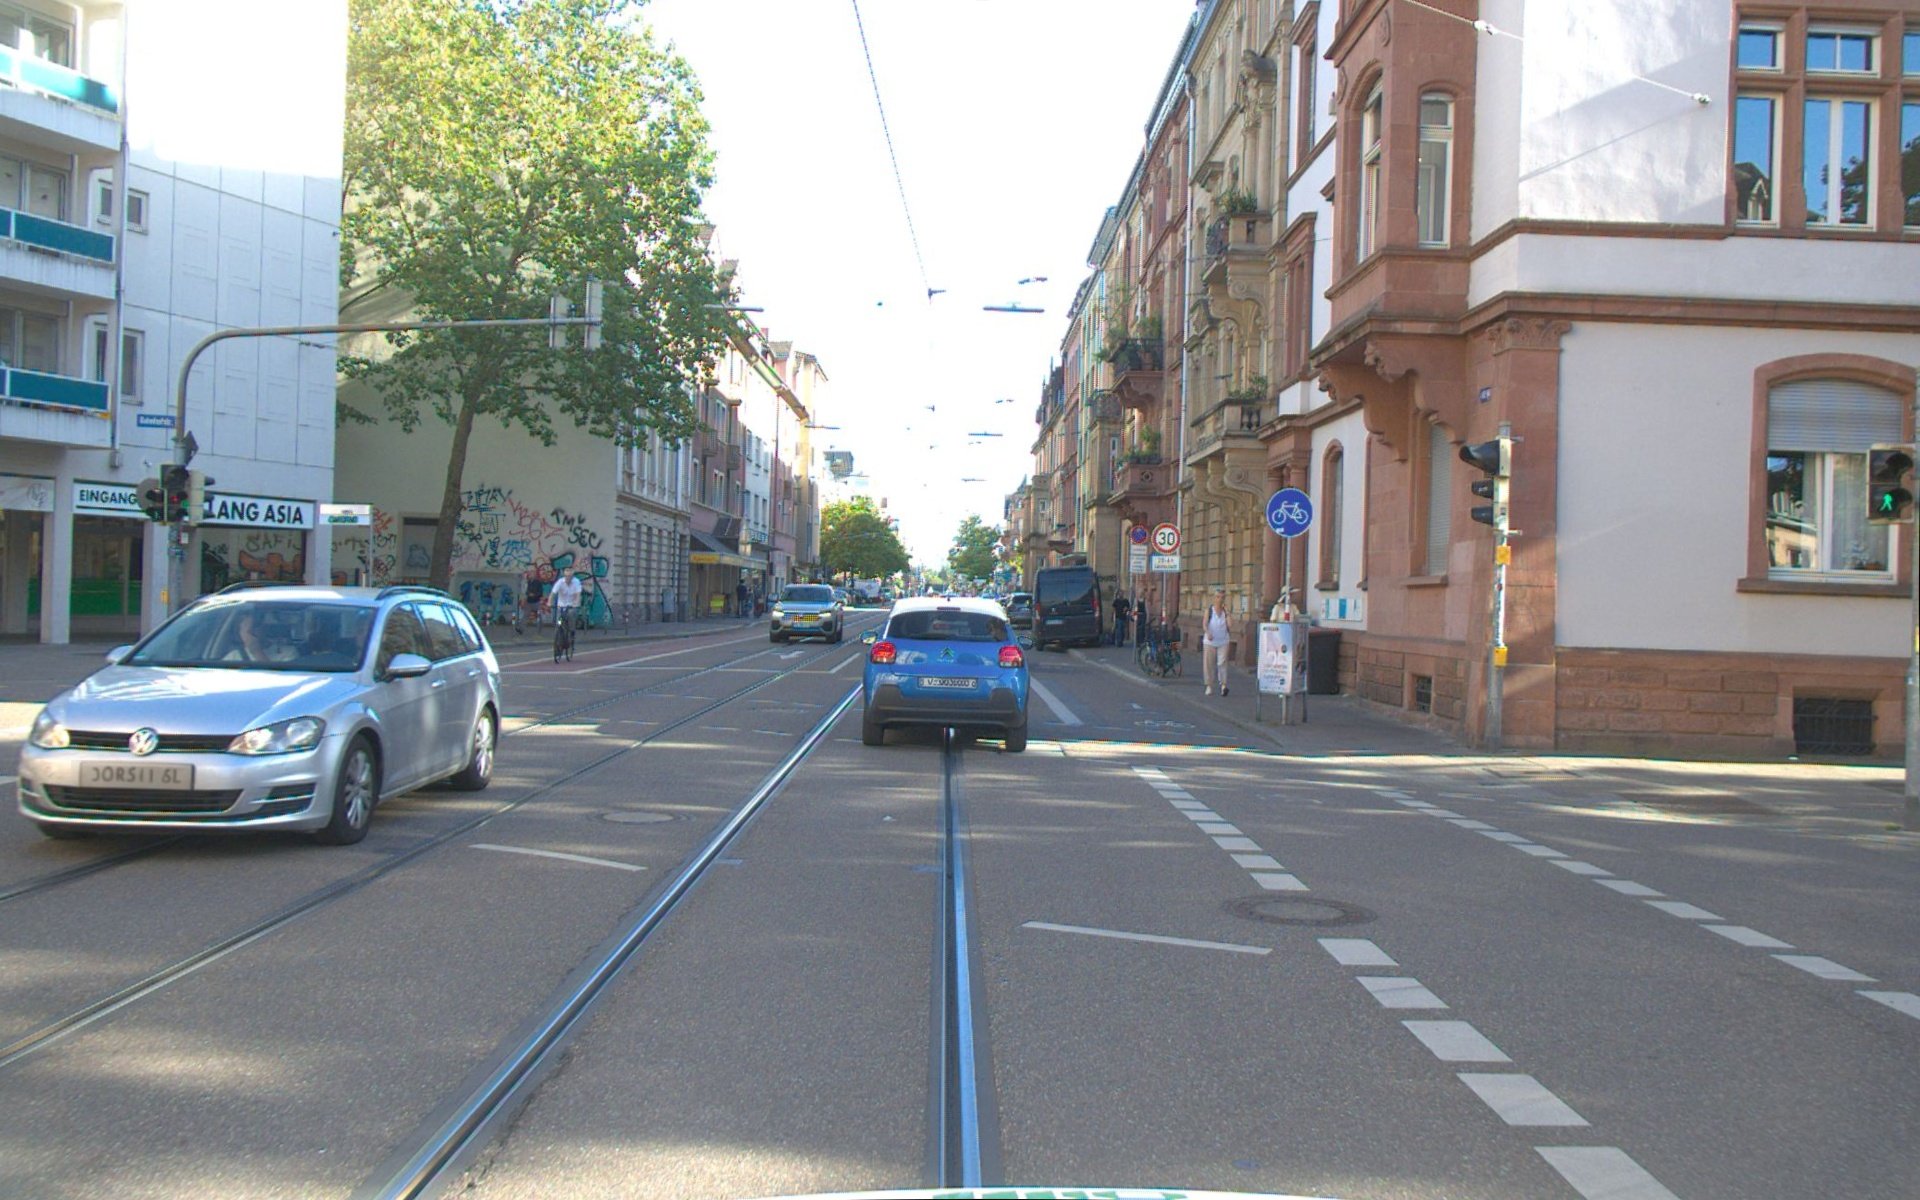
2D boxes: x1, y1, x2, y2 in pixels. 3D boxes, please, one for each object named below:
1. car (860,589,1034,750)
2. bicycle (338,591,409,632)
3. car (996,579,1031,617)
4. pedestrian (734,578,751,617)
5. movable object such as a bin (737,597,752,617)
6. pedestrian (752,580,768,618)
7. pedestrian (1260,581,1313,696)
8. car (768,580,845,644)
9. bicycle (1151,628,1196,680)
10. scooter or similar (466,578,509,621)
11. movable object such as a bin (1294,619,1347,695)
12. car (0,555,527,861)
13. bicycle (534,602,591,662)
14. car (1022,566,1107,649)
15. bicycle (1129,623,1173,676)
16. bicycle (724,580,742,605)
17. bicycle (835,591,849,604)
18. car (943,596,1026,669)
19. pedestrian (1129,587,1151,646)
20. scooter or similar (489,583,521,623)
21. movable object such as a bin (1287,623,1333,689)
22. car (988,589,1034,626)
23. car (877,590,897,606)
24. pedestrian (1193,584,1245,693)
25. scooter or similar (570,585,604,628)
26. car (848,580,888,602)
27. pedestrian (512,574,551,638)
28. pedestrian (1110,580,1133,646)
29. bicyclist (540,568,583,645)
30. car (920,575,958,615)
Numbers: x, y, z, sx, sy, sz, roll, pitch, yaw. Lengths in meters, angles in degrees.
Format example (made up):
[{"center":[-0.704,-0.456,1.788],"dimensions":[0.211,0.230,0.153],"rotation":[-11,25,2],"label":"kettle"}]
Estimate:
[{"center":[-0.093,0.671,17.975],"dimensions":[1.639,1.503,4.000],"rotation":[2,0,1],"label":"car"},{"center":[-15.977,0.300,45.070],"dimensions":[1.878,1.052,0.664],"rotation":[2,0,26],"label":"bicycle"},{"center":[3.342,-0.140,104.624],"dimensions":[1.965,1.699,4.396],"rotation":[3,8,-1],"label":"car"},{"center":[-10.321,-0.118,78.521],"dimensions":[0.696,1.795,0.570],"rotation":[1,0,-2],"label":"pedestrian"},{"center":[-10.317,0.321,79.235],"dimensions":[0.598,0.930,0.695],"rotation":[1,0,-1],"label":"movable object such as a bin"},{"center":[-9.519,-0.054,78.709],"dimensions":[0.697,1.795,0.653],"rotation":[1,0,-9],"label":"pedestrian"},{"center":[5.196,0.603,26.345],"dimensions":[0.691,1.813,0.672],"rotation":[-1,0,-2],"label":"pedestrian"},{"center":[-4.528,0.341,49.384],"dimensions":[1.953,1.774,4.561],"rotation":[2,0,-2],"label":"car"},{"center":[4.251,1.060,32.947],"dimensions":[0.423,0.964,1.760],"rotation":[2,0,-8],"label":"bicycle"},{"center":[-14.699,-0.011,51.506],"dimensions":[1.207,1.280,0.765],"rotation":[2,0,-13],"label":"scooter or similar"},{"center":[5.969,0.943,27.385],"dimensions":[0.652,1.173,0.594],"rotation":[-4,1,-2],"label":"movable object such as a bin"},{"center":[-4.287,0.540,10.623],"dimensions":[1.945,1.528,4.307],"rotation":[2,0,-2],"label":"car"},{"center":[-8.050,0.628,33.566],"dimensions":[0.679,1.140,2.083],"rotation":[1,0,-2],"label":"bicycle"},{"center":[3.308,0.223,53.339],"dimensions":[2.225,2.479,5.719],"rotation":[2,0,-1],"label":"car"},{"center":[3.780,0.972,32.885],"dimensions":[0.423,0.964,1.760],"rotation":[2,0,-8],"label":"bicycle"},{"center":[-11.030,-0.361,80.375],"dimensions":[0.610,1.180,2.058],"rotation":[1,0,-14],"label":"bicycle"},{"center":[-10.341,-0.228,144.957],"dimensions":[1.099,1.166,3.639],"rotation":[1,0,-6],"label":"bicycle"},{"center":[0.487,0.677,36.739],"dimensions":[1.633,1.504,3.999],"rotation":[1,0,-2],"label":"car"},{"center":[5.567,0.511,51.257],"dimensions":[0.542,1.813,0.606],"rotation":[2,0,-2],"label":"pedestrian"},{"center":[-14.412,0.090,52.406],"dimensions":[0.921,1.243,0.765],"rotation":[2,0,-13],"label":"scooter or similar"},{"center":[5.929,0.949,28.041],"dimensions":[0.652,1.096,0.571],"rotation":[1,0,-2],"label":"movable object such as a bin"},{"center":[2.457,0.338,80.512],"dimensions":[1.965,1.701,4.805],"rotation":[1,0,-1],"label":"car"},{"center":[-7.688,-0.217,174.792],"dimensions":[1.953,1.680,3.999],"rotation":[1,0,-2],"label":"car"},{"center":[4.208,0.616,26.855],"dimensions":[0.615,1.731,0.681],"rotation":[1,0,-10],"label":"pedestrian"},{"center":[-11.954,0.207,53.050],"dimensions":[0.772,1.293,1.074],"rotation":[4,1,-2],"label":"scooter or similar"},{"center":[-10.775,-1.054,193.870],"dimensions":[4.256,2.626,2.191],"rotation":[0,0,-27],"label":"car"},{"center":[-12.375,0.179,47.780],"dimensions":[0.668,1.796,1.026],"rotation":[2,0,10],"label":"pedestrian"},{"center":[5.087,0.396,52.141],"dimensions":[0.573,2.049,0.823],"rotation":[2,0,-2],"label":"pedestrian"},{"center":[-8.046,0.127,33.417],"dimensions":[0.668,1.509,0.778],"rotation":[1,0,-2],"label":"bicyclist"},{"center":[-1.159,-0.278,89.776],"dimensions":[1.953,2.049,3.999],"rotation":[1,0,-2],"label":"car"}]
